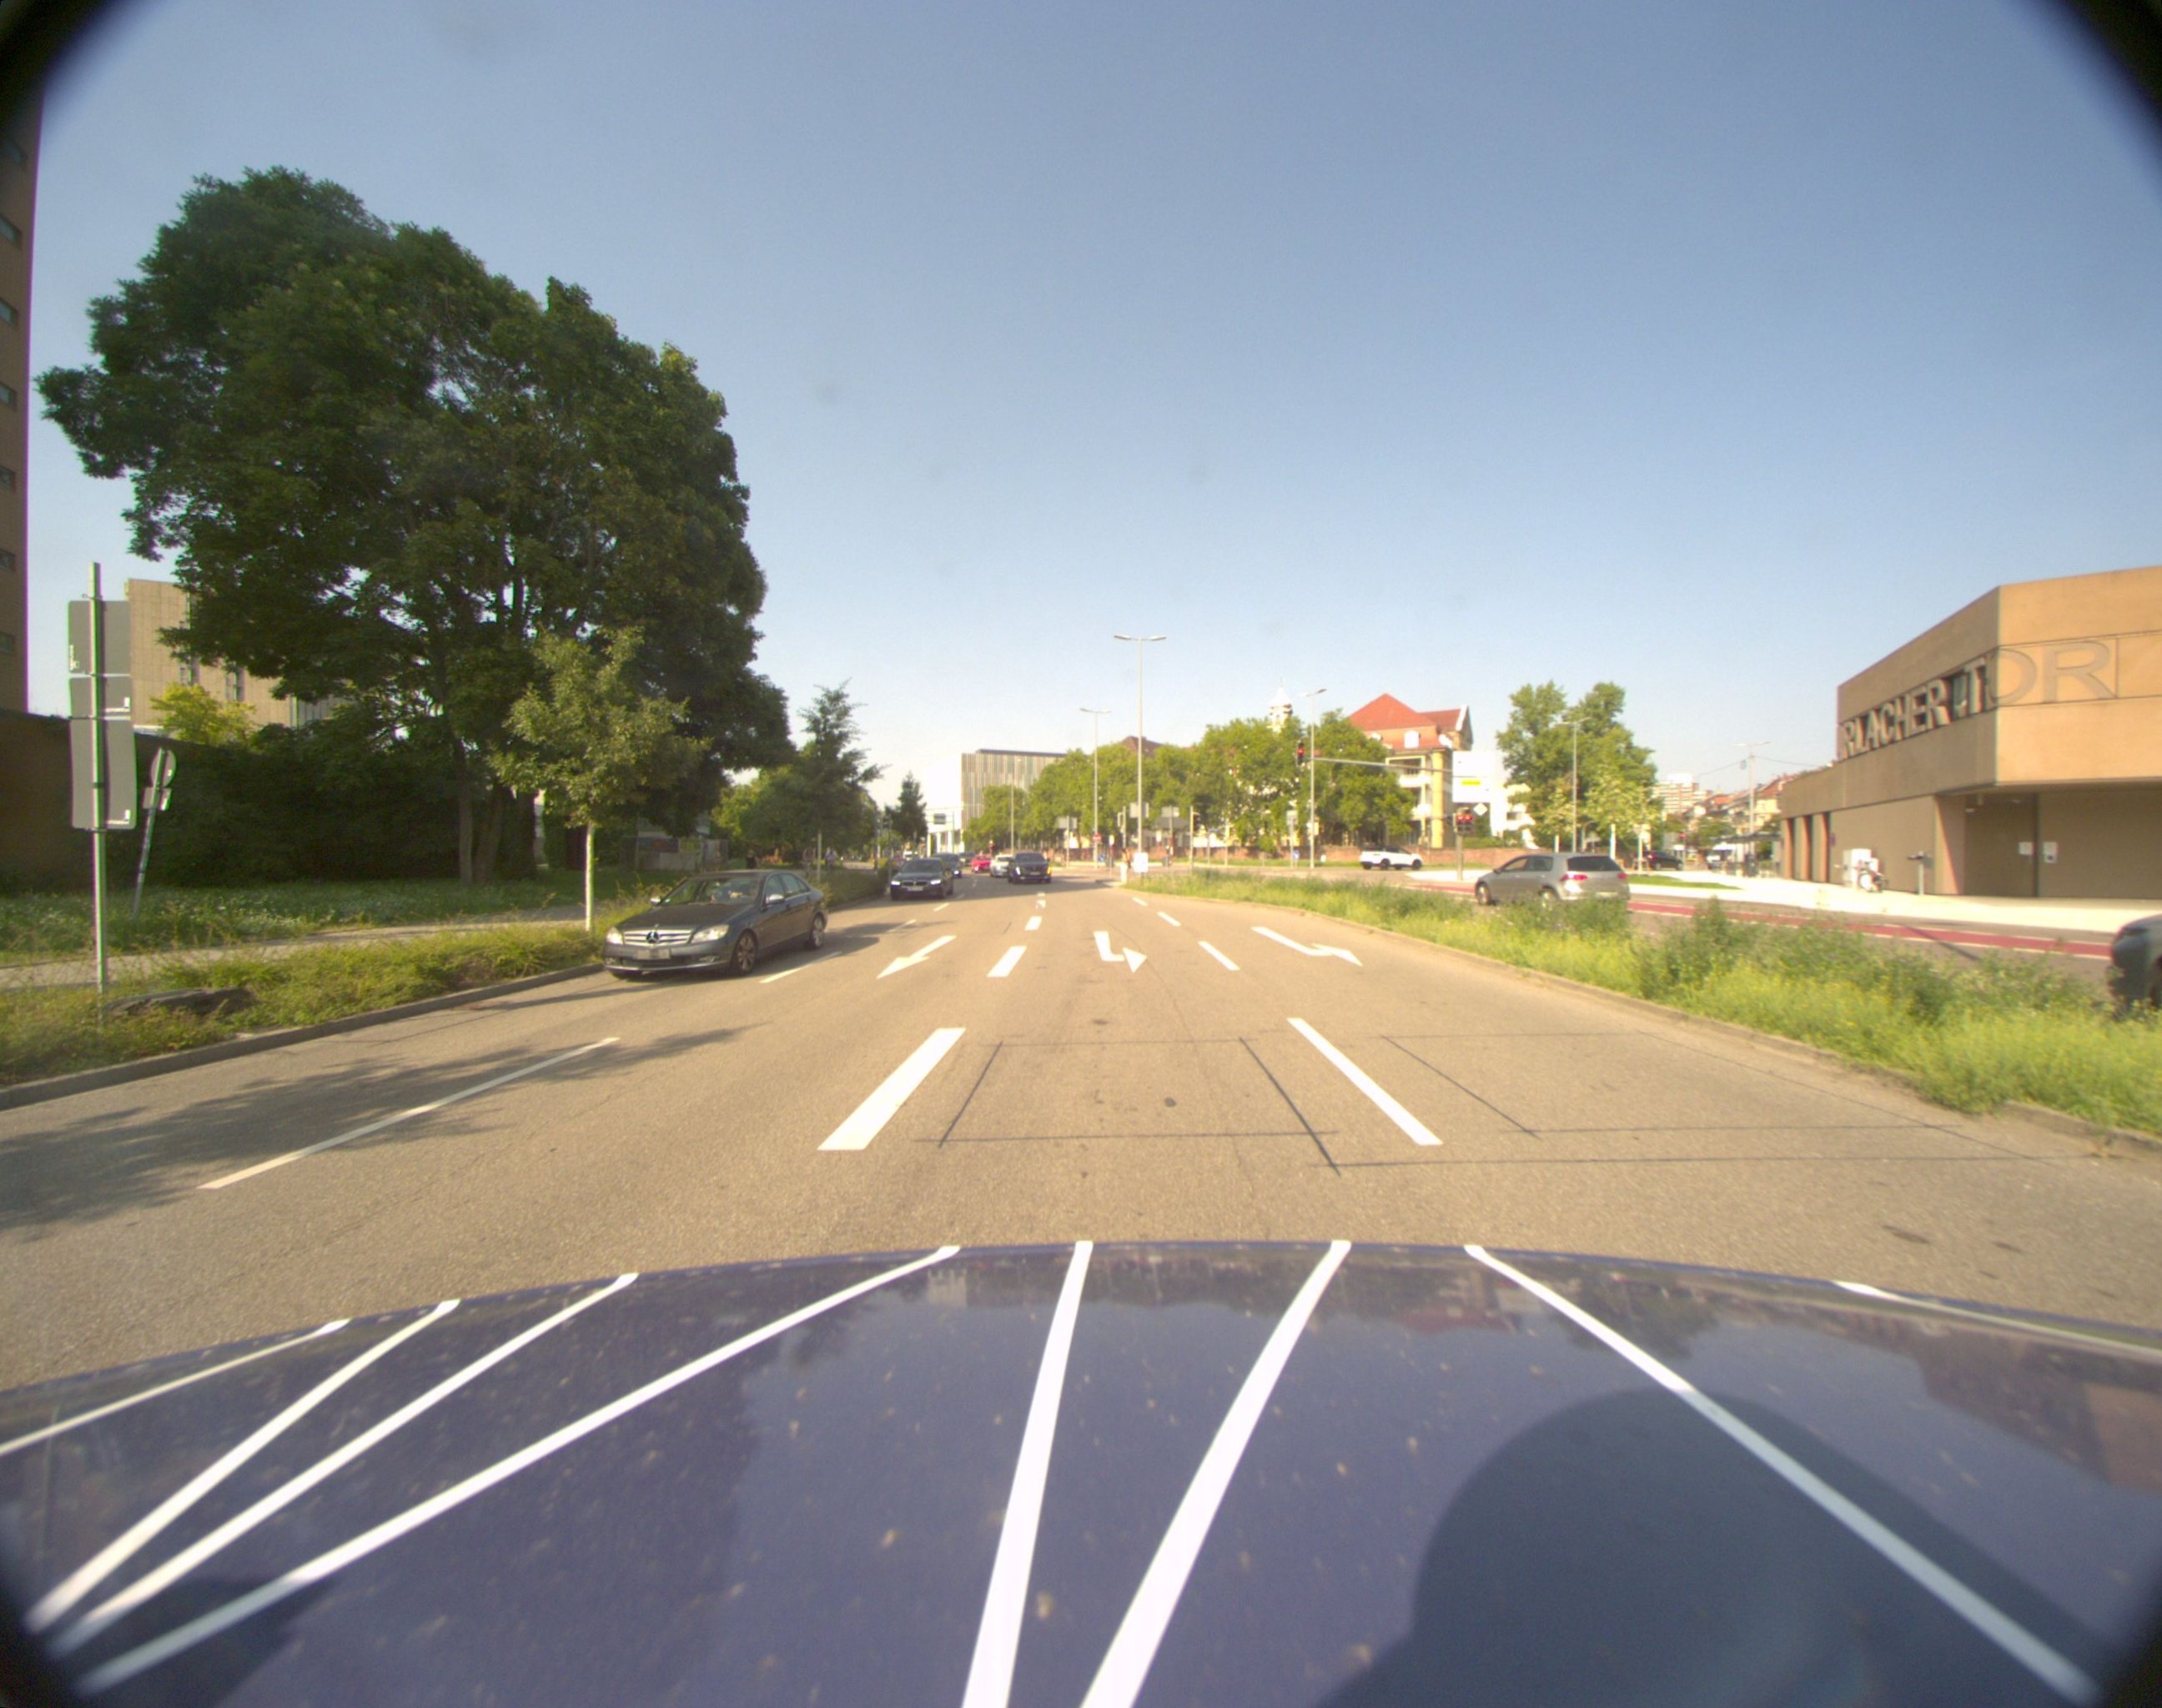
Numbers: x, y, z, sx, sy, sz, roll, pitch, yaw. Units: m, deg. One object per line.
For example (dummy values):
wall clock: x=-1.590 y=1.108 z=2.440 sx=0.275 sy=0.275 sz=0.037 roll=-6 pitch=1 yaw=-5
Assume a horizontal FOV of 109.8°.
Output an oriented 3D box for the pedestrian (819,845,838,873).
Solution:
pedestrian: x=-16.623 y=0.318 z=50.064 sx=0.961 sy=1.772 sz=1.002 roll=2 pitch=0 yaw=-8

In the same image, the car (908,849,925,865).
car: x=-20.545 y=0.341 z=94.793 sx=1.689 sy=1.930 sz=4.365 roll=0 pitch=0 yaw=-19

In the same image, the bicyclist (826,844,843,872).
bicyclist: x=-14.054 y=0.220 z=43.345 sx=0.773 sy=1.584 sz=0.923 roll=0 pitch=1 yaw=-6

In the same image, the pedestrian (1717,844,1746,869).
pedestrian: x=53.470 y=0.227 z=62.464 sx=1.344 sy=2.002 sz=1.210 roll=0 pitch=1 yaw=-18

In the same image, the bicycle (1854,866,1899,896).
bicycle: x=23.953 y=0.794 z=22.896 sx=0.591 sy=0.833 sz=1.550 roll=-3 pitch=-2 yaw=34

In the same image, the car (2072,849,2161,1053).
car: x=9.544 y=0.775 z=4.349 sx=1.699 sy=1.608 sz=4.458 roll=0 pitch=1 yaw=-6

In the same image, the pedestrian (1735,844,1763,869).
pedestrian: x=55.200 y=0.210 z=62.820 sx=1.344 sy=2.002 sz=1.210 roll=0 pitch=1 yaw=-18

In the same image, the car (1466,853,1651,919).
car: x=11.699 y=0.716 z=19.002 sx=1.818 sy=1.425 sz=4.223 roll=0 pitch=1 yaw=-3

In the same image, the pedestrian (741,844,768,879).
pedestrian: x=-13.749 y=0.304 z=32.051 sx=0.726 sy=1.435 sz=0.857 roll=0 pitch=1 yaw=3

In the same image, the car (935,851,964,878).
car: x=-8.702 y=0.651 z=50.112 sx=1.784 sy=1.597 sz=4.416 roll=0 pitch=1 yaw=-11

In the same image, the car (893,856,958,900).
car: x=-5.651 y=0.825 z=28.165 sx=1.687 sy=1.483 sz=4.671 roll=0 pitch=0 yaw=-3

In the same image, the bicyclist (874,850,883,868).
bicyclist: x=-19.343 y=0.455 z=72.645 sx=0.774 sy=1.666 sz=0.922 roll=-1 pitch=1 yaw=-19

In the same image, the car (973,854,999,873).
car: x=-7.770 y=0.756 z=61.856 sx=1.689 sy=1.483 sz=4.367 roll=0 pitch=0 yaw=-12

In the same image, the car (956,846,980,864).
car: x=-11.262 y=0.128 z=75.501 sx=1.784 sy=1.682 sz=4.528 roll=-3 pitch=-1 yaw=-14

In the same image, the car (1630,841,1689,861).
car: x=48.239 y=-0.274 z=63.365 sx=4.378 sy=1.624 sz=1.996 roll=0 pitch=0 yaw=-24

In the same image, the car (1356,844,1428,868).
car: x=21.275 y=0.107 z=52.009 sx=4.377 sy=1.624 sz=1.996 roll=0 pitch=1 yaw=-22

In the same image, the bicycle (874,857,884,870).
bicycle: x=-19.301 y=0.894 z=72.560 sx=0.774 sy=1.111 sz=2.299 roll=-1 pitch=1 yaw=-19

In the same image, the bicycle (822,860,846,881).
bicycle: x=-14.048 y=0.938 z=43.260 sx=0.773 sy=1.111 sz=2.302 roll=0 pitch=0 yaw=-6

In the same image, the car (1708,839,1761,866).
car: x=65.400 y=-0.118 z=76.041 sx=5.558 sy=2.437 sz=1.996 roll=-3 pitch=1 yaw=-27

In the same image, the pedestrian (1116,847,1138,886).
pedestrian: x=1.961 y=0.518 z=32.409 sx=0.667 sy=1.645 sz=0.780 roll=1 pitch=1 yaw=30

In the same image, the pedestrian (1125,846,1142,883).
pedestrian: x=2.399 y=0.490 z=34.766 sx=0.668 sy=1.689 sz=0.691 roll=0 pitch=1 yaw=-6

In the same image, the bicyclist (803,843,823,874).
bicyclist: x=-14.201 y=0.240 z=40.222 sx=0.773 sy=1.584 sz=0.923 roll=-1 pitch=1 yaw=-6

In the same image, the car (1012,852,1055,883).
car: x=-2.468 y=0.635 z=38.726 sx=1.688 sy=1.483 sz=4.368 roll=0 pitch=0 yaw=-10

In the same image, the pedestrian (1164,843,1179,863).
pedestrian: x=9.484 y=-0.095 z=79.664 sx=1.080 sy=2.002 sz=1.316 roll=-1 pitch=1 yaw=-15

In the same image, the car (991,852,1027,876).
car: x=-4.705 y=0.598 z=49.284 sx=1.784 sy=1.474 sz=4.528 roll=0 pitch=1 yaw=-12

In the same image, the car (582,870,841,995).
car: x=-5.338 y=1.031 z=11.730 sx=1.686 sy=1.434 sz=4.373 roll=-2 pitch=0 yaw=2

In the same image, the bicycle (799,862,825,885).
bicycle: x=-14.192 y=1.017 z=40.212 sx=0.773 sy=1.111 sz=2.302 roll=-1 pitch=1 yaw=-6
